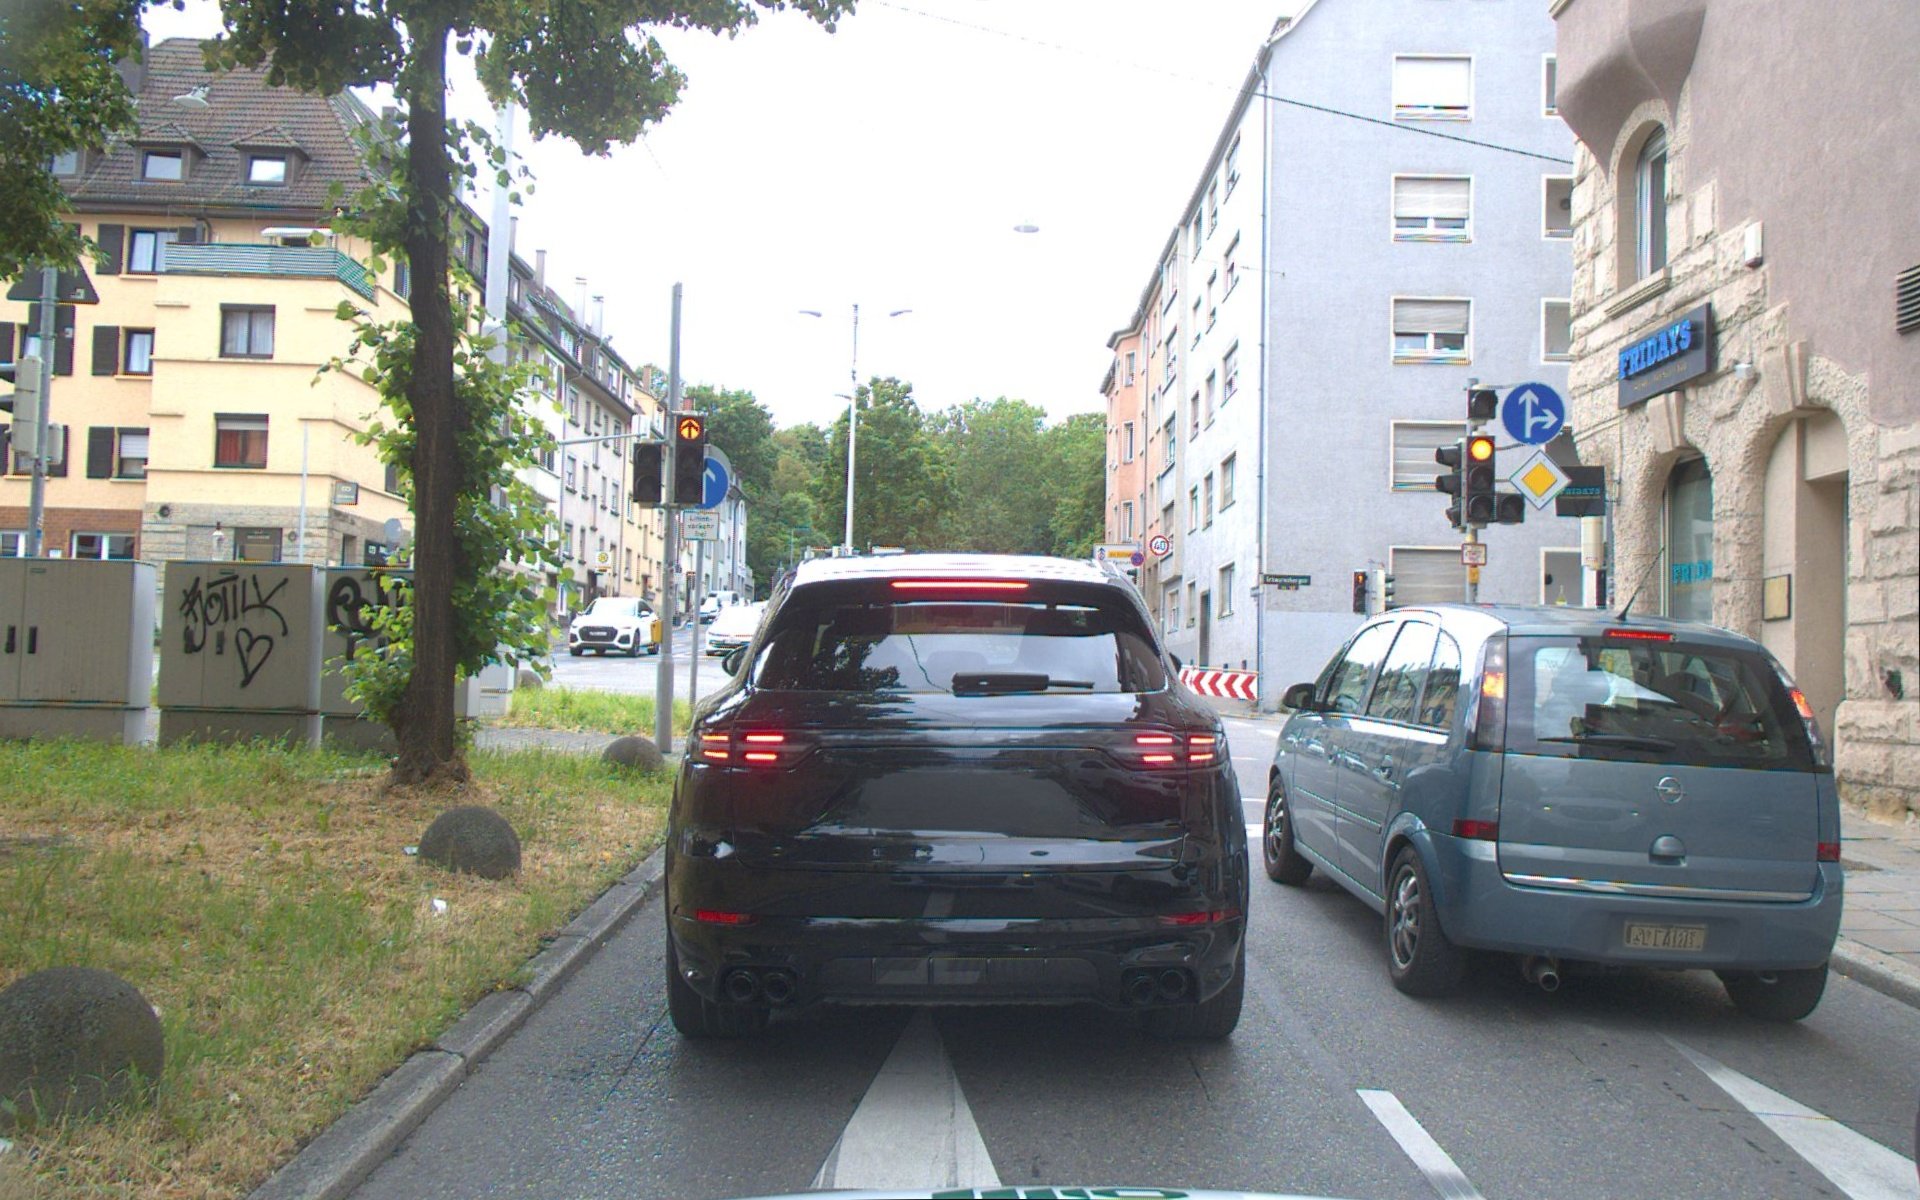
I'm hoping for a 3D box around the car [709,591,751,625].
[{"bbox_3d":[-14.503,0.525,104.397,1.975,2.081,4.666,1,0,0],"label":"car"}]

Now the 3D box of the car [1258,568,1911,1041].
[{"bbox_3d":[2.626,0.759,7.895,1.596,1.625,3.668,4,0,-1],"label":"car"}]

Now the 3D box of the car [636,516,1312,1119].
[{"bbox_3d":[0.018,0.626,6.704,1.916,1.704,3.999,0,0,-1],"label":"car"}]

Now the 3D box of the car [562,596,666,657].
[{"bbox_3d":[-9.936,0.747,47.876,1.933,1.638,4.558,1,0,1],"label":"car"}]

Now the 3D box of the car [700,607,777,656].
[{"bbox_3d":[-6.706,0.933,50.454,1.824,1.412,4.094,1,0,0],"label":"car"}]

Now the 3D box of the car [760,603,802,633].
[{"bbox_3d":[-9.242,0.953,85.547,1.585,1.506,3.824,1,-1,3],"label":"car"}]

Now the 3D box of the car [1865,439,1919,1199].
[{"bbox_3d":[2.902,0.649,1.014,1.936,1.806,4.674,4,0,-2],"label":"car"}]

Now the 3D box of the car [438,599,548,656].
[{"bbox_3d":[-13.019,0.750,46.306,1.806,1.512,3.899,1,0,2],"label":"car"}]

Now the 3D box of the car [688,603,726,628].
[{"bbox_3d":[-15.061,0.901,98.567,1.703,1.411,3.813,1,0,0],"label":"car"}]
